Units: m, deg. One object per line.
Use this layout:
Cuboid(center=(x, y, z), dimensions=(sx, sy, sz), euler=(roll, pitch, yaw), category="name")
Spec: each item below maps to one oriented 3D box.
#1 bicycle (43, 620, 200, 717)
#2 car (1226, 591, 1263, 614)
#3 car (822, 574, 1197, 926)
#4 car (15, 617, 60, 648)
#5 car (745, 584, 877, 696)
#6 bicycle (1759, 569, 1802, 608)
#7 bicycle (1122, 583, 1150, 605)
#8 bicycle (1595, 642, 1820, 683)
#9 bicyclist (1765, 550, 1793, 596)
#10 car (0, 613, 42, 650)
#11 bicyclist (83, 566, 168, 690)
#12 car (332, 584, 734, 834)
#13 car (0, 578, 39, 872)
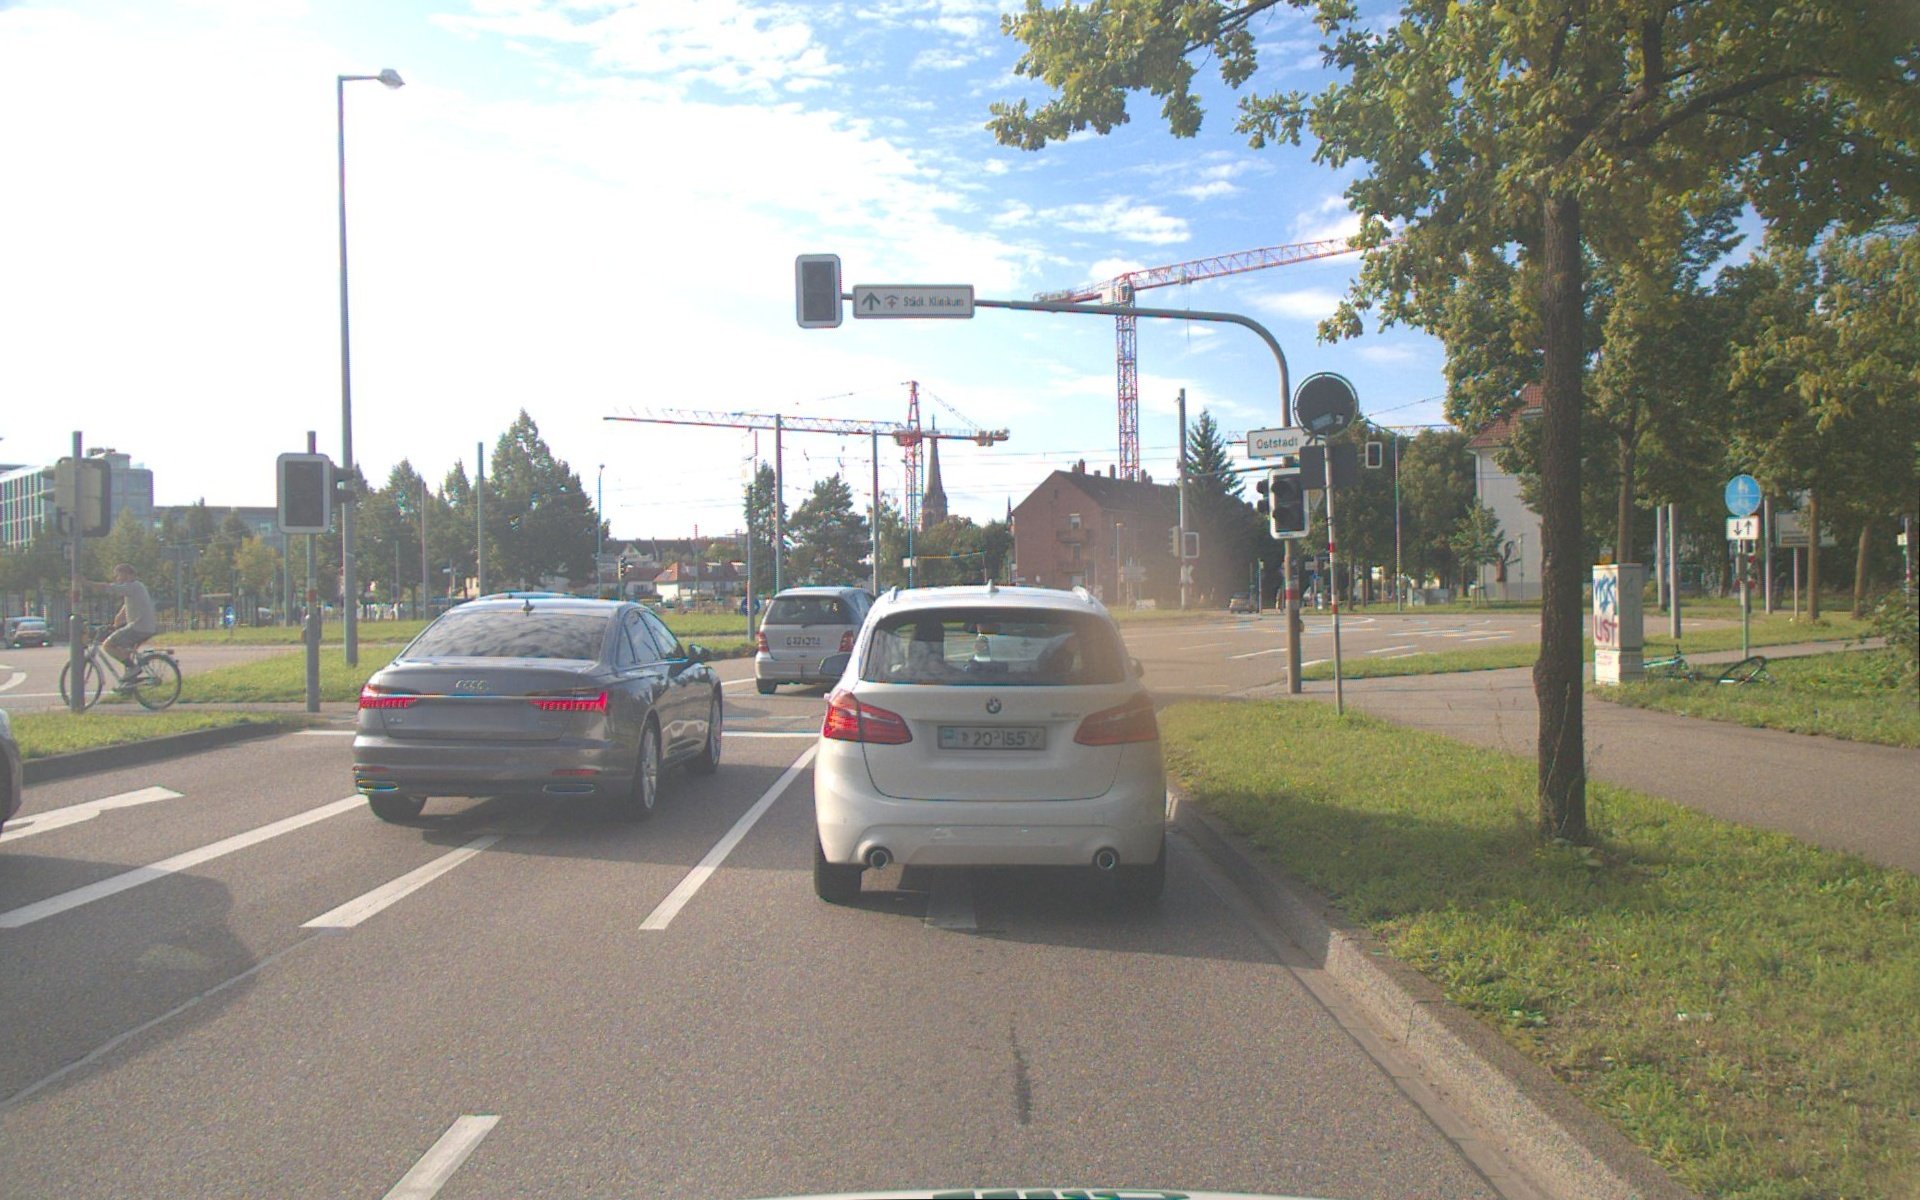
Cuboid(center=(-10.798, 0.870, 21.359), dimensions=(1.698, 1.184, 0.653), euler=(-1, 0, -17), category="bicycle")
Cuboid(center=(21.092, 0.180, 122.524), dimensions=(1.542, 1.601, 3.190), euler=(0, 2, 33), category="car")
Cuboid(center=(0.193, 0.674, 9.503), dimensions=(1.694, 1.586, 4.057), euler=(0, 0, -1), category="car")
Cuboid(center=(-47.031, 1.661, 84.345), dimensions=(1.570, 1.440, 3.644), euler=(-1, -2, -23), category="car")
Cuboid(center=(-2.216, 0.561, 25.492), dimensions=(1.694, 1.586, 4.057), euler=(0, 0, -1), category="car")
Cuboid(center=(36.548, -0.500, 73.703), dimensions=(1.020, 1.691, 2.498), euler=(1, 0, 9), category="bicycle")
Cuboid(center=(12.747, -0.414, 119.706), dimensions=(0.884, 1.557, 2.266), euler=(2, -1, -30), category="bicycle")
Cuboid(center=(9.499, 0.785, 21.181), dimensions=(1.382, 0.392, 2.569), euler=(-1, 0, -12), category="bicycle")
Cuboid(center=(36.602, -1.208, 73.903), dimensions=(0.822, 2.049, 1.143), euler=(0, 0, 9), category="bicyclist")
Cuboid(center=(-43.610, 1.446, 75.981), dimensions=(1.759, 1.602, 3.979), euler=(-1, 0, -18), category="car")
Cuboid(center=(-10.775, 0.353, 21.383), dimensions=(0.835, 1.553, 0.737), euler=(-1, 0, -17), category="bicyclist")
Cuboid(center=(-2.891, 0.671, 12.295), dimensions=(1.851, 1.509, 4.612), euler=(0, 0, -1), category="car")
Cuboid(center=(-6.006, 0.673, 7.261), dimensions=(1.694, 1.586, 4.018), euler=(0, 0, -1), category="car")
